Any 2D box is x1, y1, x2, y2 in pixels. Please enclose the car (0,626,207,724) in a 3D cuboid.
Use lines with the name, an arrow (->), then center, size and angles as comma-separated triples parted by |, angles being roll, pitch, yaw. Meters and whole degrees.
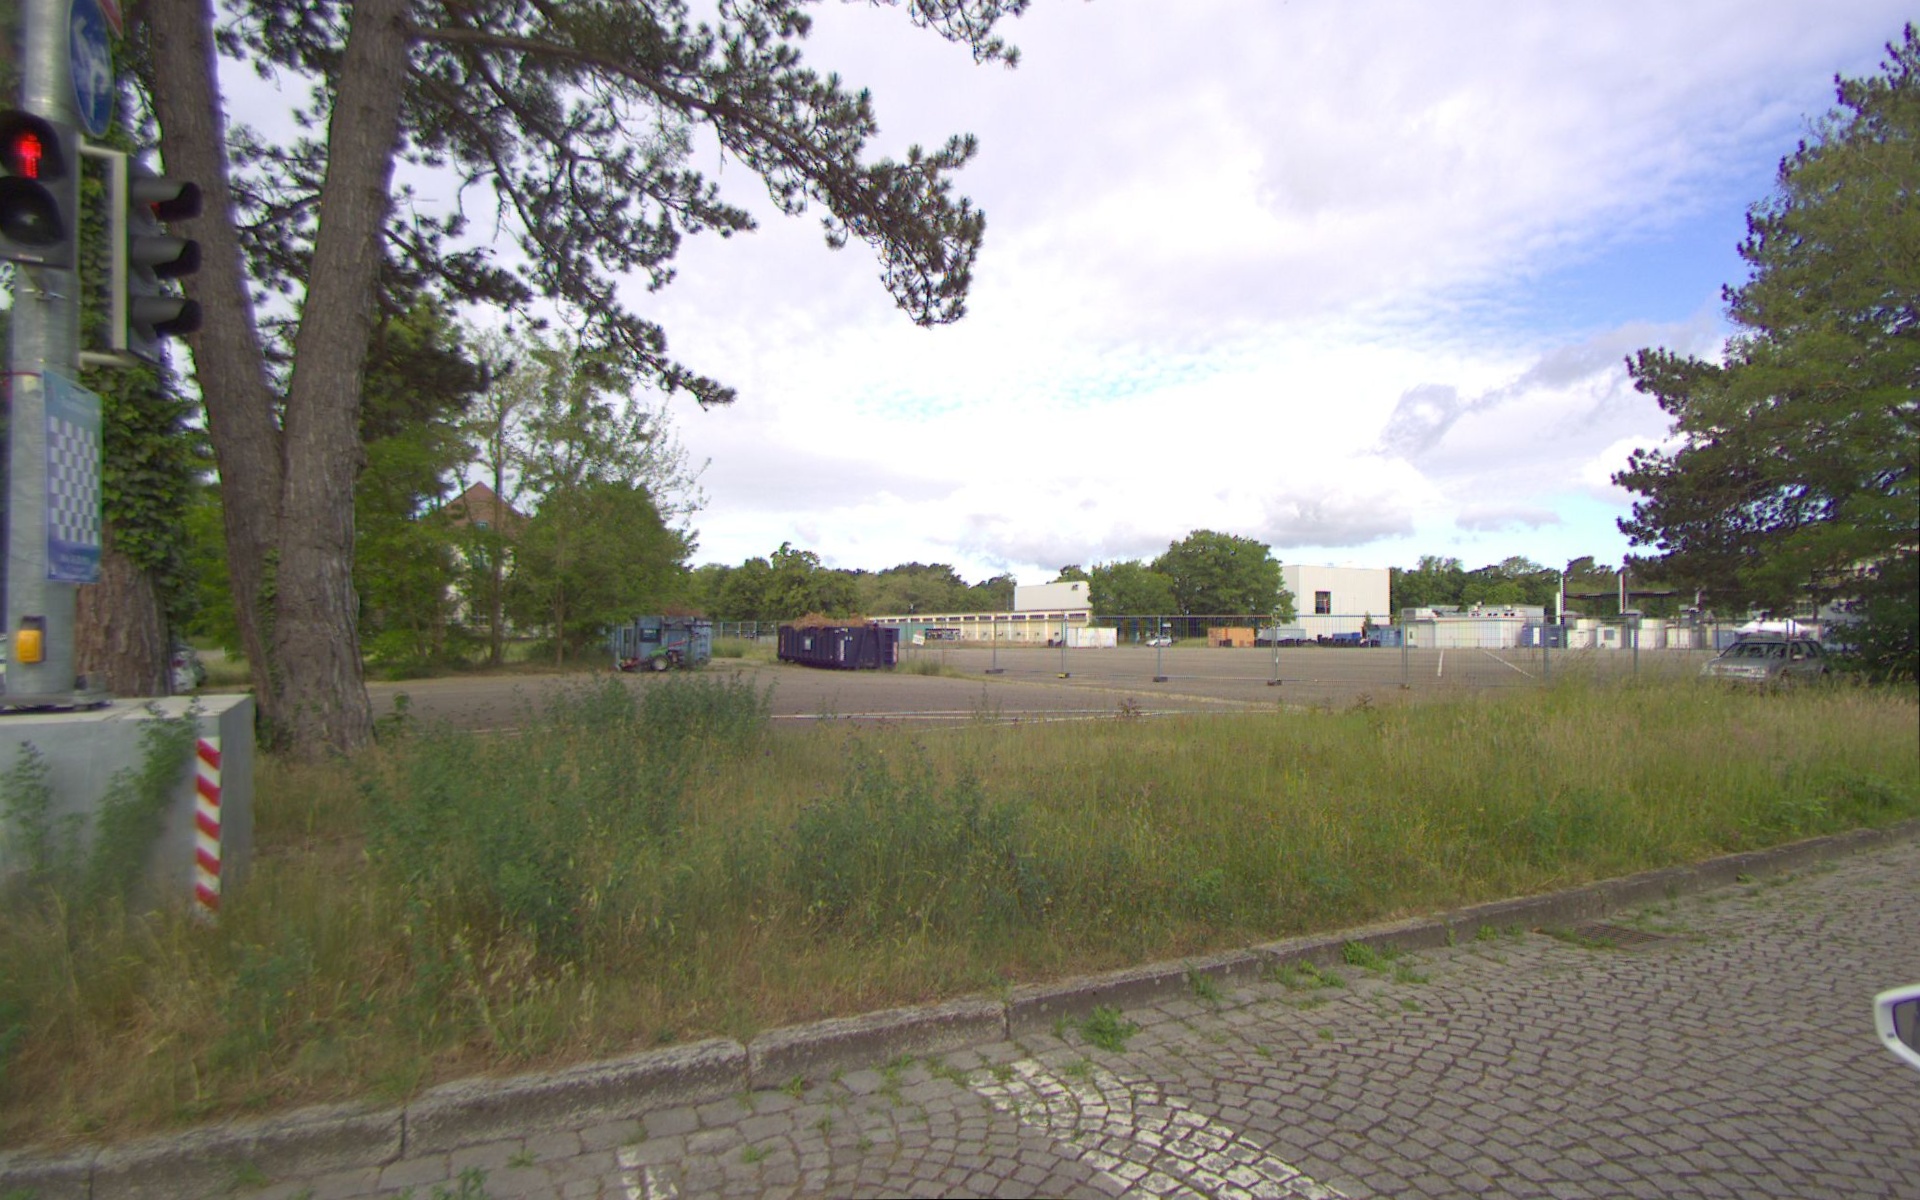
car -> -15.747, 1.267, 16.913 | 4.700, 1.507, 1.852 | -1, -2, -31

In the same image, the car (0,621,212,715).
car -> -17.003, 1.264, 19.114 | 4.332, 1.619, 1.855 | -1, -1, -35

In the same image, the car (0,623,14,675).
car -> -39.686, 1.854, 38.508 | 4.546, 2.032, 1.899 | 2, -2, -27

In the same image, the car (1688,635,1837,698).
car -> 21.091, 1.696, 26.373 | 4.112, 1.451, 1.722 | 0, -1, -31

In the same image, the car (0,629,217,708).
car -> -18.574, 1.423, 21.236 | 4.397, 1.443, 1.708 | -2, 0, -31

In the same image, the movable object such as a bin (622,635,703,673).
movable object such as a bin -> -9.161, 1.669, 30.943 | 2.242, 1.140, 0.852 | 2, -2, -31

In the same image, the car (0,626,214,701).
car -> -19.998, 1.441, 23.482 | 3.918, 1.490, 1.571 | -2, 0, -32
